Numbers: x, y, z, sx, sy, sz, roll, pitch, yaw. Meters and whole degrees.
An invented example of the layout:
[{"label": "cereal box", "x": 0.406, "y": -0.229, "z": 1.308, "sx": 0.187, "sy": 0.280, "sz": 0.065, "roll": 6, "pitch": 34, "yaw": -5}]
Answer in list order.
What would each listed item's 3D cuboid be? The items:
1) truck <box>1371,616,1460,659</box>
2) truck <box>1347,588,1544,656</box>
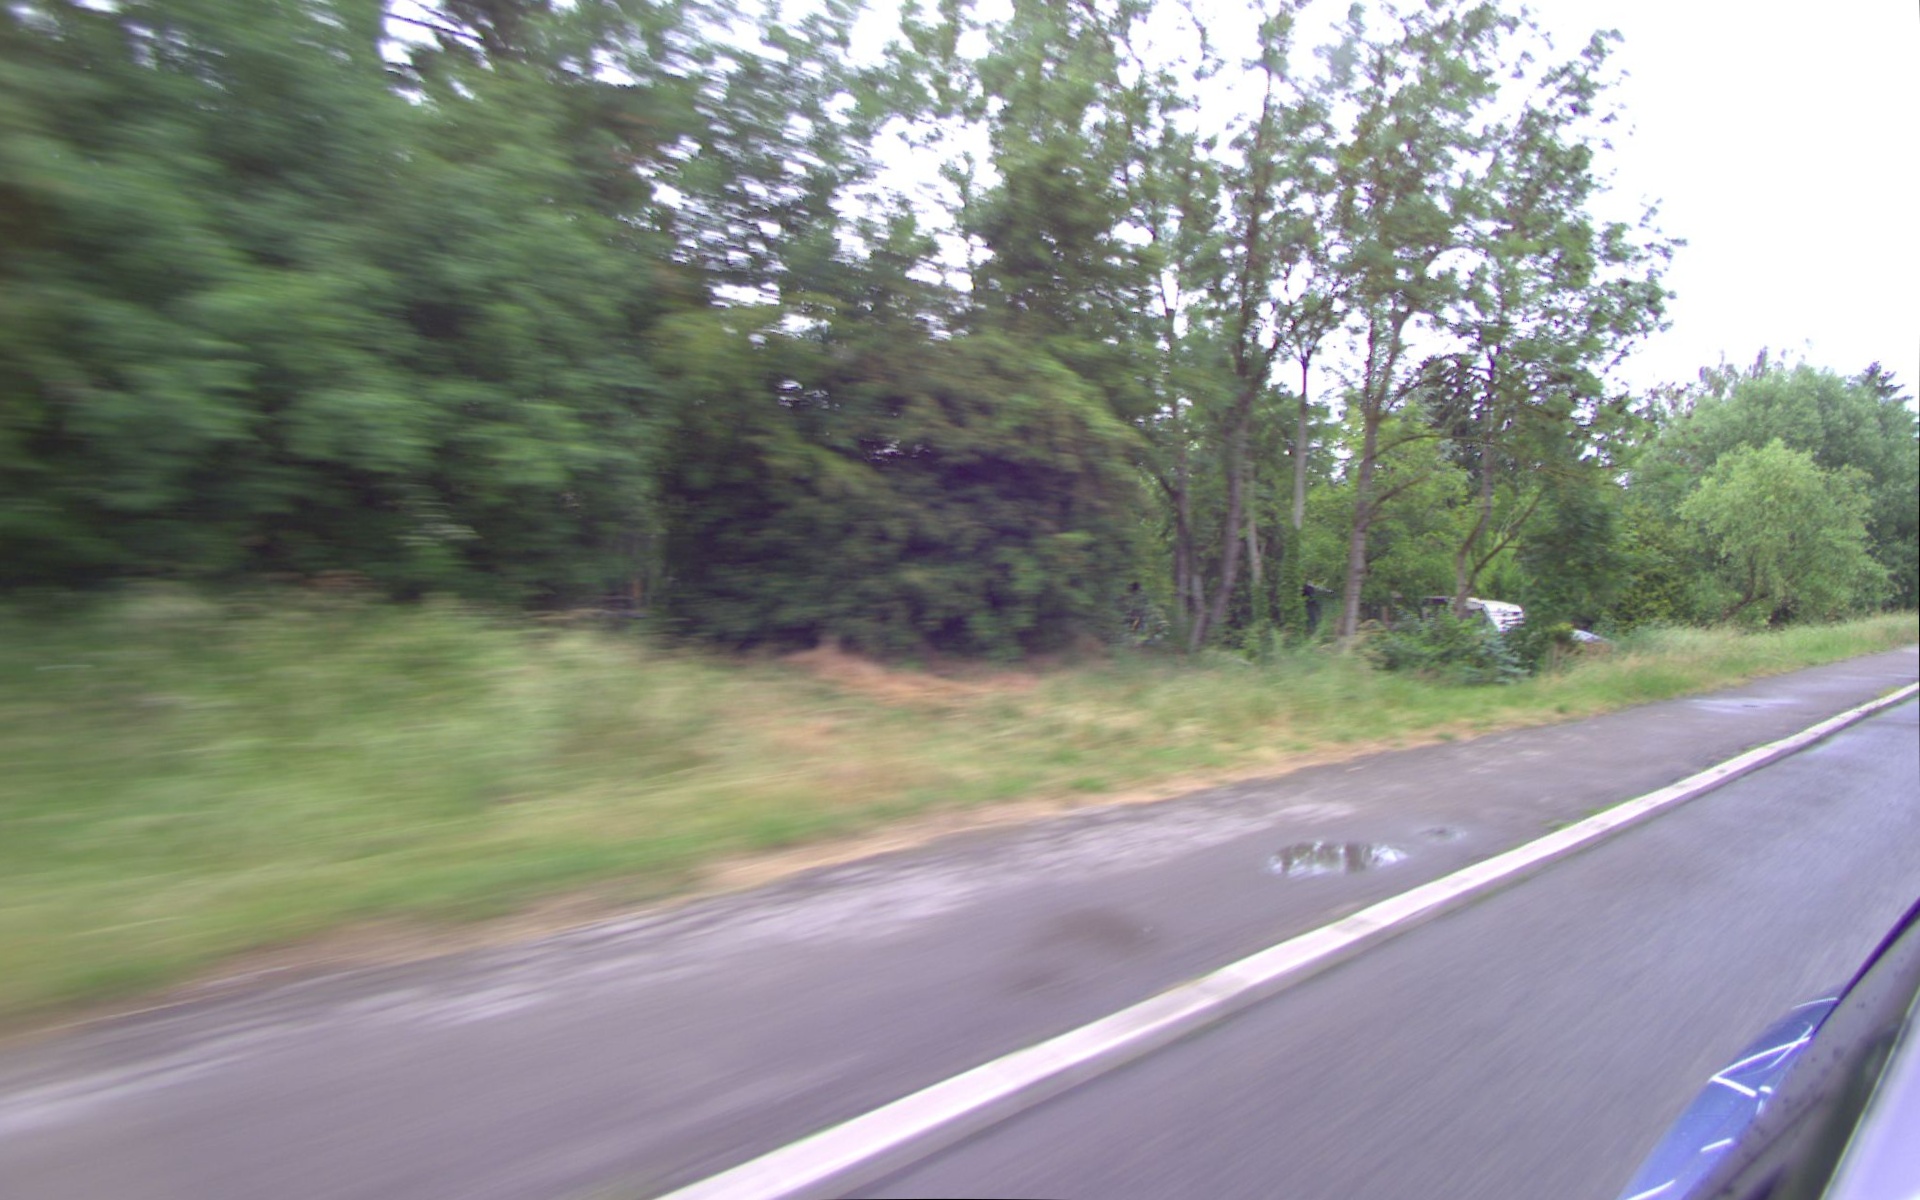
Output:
[{"label": "truck", "x": 16.545, "y": 1.348, "z": 36.813, "sx": 1.723, "sy": 1.415, "sz": 2.364, "roll": 0, "pitch": 1, "yaw": -28}, {"label": "truck", "x": 18.911, "y": 0.751, "z": 39.925, "sx": 2.026, "sy": 2.388, "sz": 7.074, "roll": 0, "pitch": 1, "yaw": -31}]
